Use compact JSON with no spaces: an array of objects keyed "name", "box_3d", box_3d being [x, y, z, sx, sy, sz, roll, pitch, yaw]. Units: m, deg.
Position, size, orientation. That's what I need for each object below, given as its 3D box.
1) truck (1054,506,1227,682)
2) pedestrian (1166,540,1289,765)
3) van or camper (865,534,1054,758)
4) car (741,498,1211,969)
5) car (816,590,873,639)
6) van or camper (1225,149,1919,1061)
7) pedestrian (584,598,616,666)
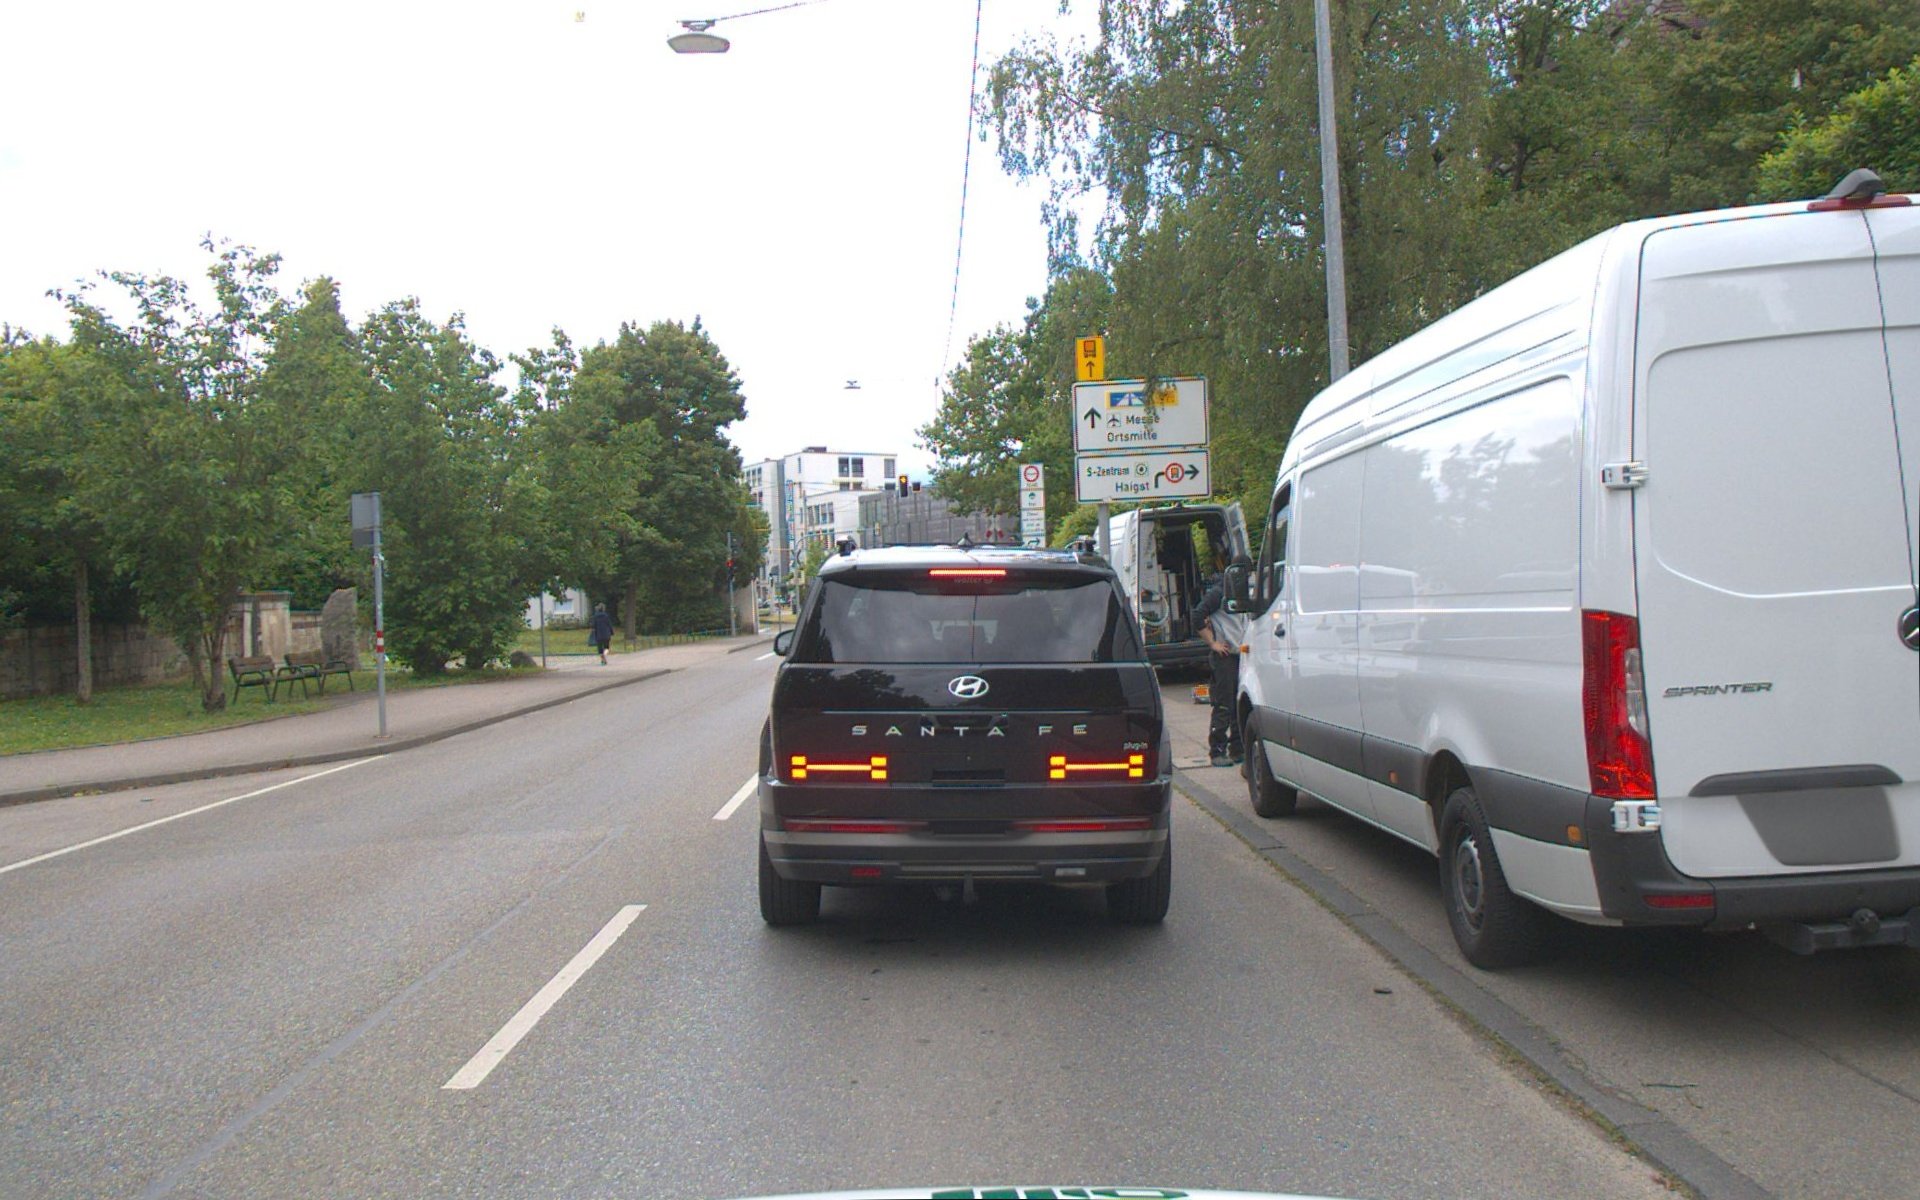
[{"name":"truck","box_3d":[2.928,-0.080,28.062,1.904,2.606,5.212,-3,0,-4]},{"name":"pedestrian","box_3d":[2.244,0.429,13.959,0.852,1.828,0.759,-2,0,-2]},{"name":"van or camper","box_3d":[-0.033,0.422,17.475,1.719,2.049,3.999,-2,0,-1]},{"name":"car","box_3d":[0.038,0.517,8.532,1.851,1.851,3.999,0,0,-1]},{"name":"car","box_3d":[-4.379,0.523,62.988,1.822,1.686,4.305,-4,0,-1]},{"name":"van or camper","box_3d":[2.889,-0.016,8.171,1.953,2.665,6.540,-2,0,-1]},{"name":"pedestrian","box_3d":[-9.560,0.839,43.914,0.724,1.745,0.791,-2,0,-8]}]
